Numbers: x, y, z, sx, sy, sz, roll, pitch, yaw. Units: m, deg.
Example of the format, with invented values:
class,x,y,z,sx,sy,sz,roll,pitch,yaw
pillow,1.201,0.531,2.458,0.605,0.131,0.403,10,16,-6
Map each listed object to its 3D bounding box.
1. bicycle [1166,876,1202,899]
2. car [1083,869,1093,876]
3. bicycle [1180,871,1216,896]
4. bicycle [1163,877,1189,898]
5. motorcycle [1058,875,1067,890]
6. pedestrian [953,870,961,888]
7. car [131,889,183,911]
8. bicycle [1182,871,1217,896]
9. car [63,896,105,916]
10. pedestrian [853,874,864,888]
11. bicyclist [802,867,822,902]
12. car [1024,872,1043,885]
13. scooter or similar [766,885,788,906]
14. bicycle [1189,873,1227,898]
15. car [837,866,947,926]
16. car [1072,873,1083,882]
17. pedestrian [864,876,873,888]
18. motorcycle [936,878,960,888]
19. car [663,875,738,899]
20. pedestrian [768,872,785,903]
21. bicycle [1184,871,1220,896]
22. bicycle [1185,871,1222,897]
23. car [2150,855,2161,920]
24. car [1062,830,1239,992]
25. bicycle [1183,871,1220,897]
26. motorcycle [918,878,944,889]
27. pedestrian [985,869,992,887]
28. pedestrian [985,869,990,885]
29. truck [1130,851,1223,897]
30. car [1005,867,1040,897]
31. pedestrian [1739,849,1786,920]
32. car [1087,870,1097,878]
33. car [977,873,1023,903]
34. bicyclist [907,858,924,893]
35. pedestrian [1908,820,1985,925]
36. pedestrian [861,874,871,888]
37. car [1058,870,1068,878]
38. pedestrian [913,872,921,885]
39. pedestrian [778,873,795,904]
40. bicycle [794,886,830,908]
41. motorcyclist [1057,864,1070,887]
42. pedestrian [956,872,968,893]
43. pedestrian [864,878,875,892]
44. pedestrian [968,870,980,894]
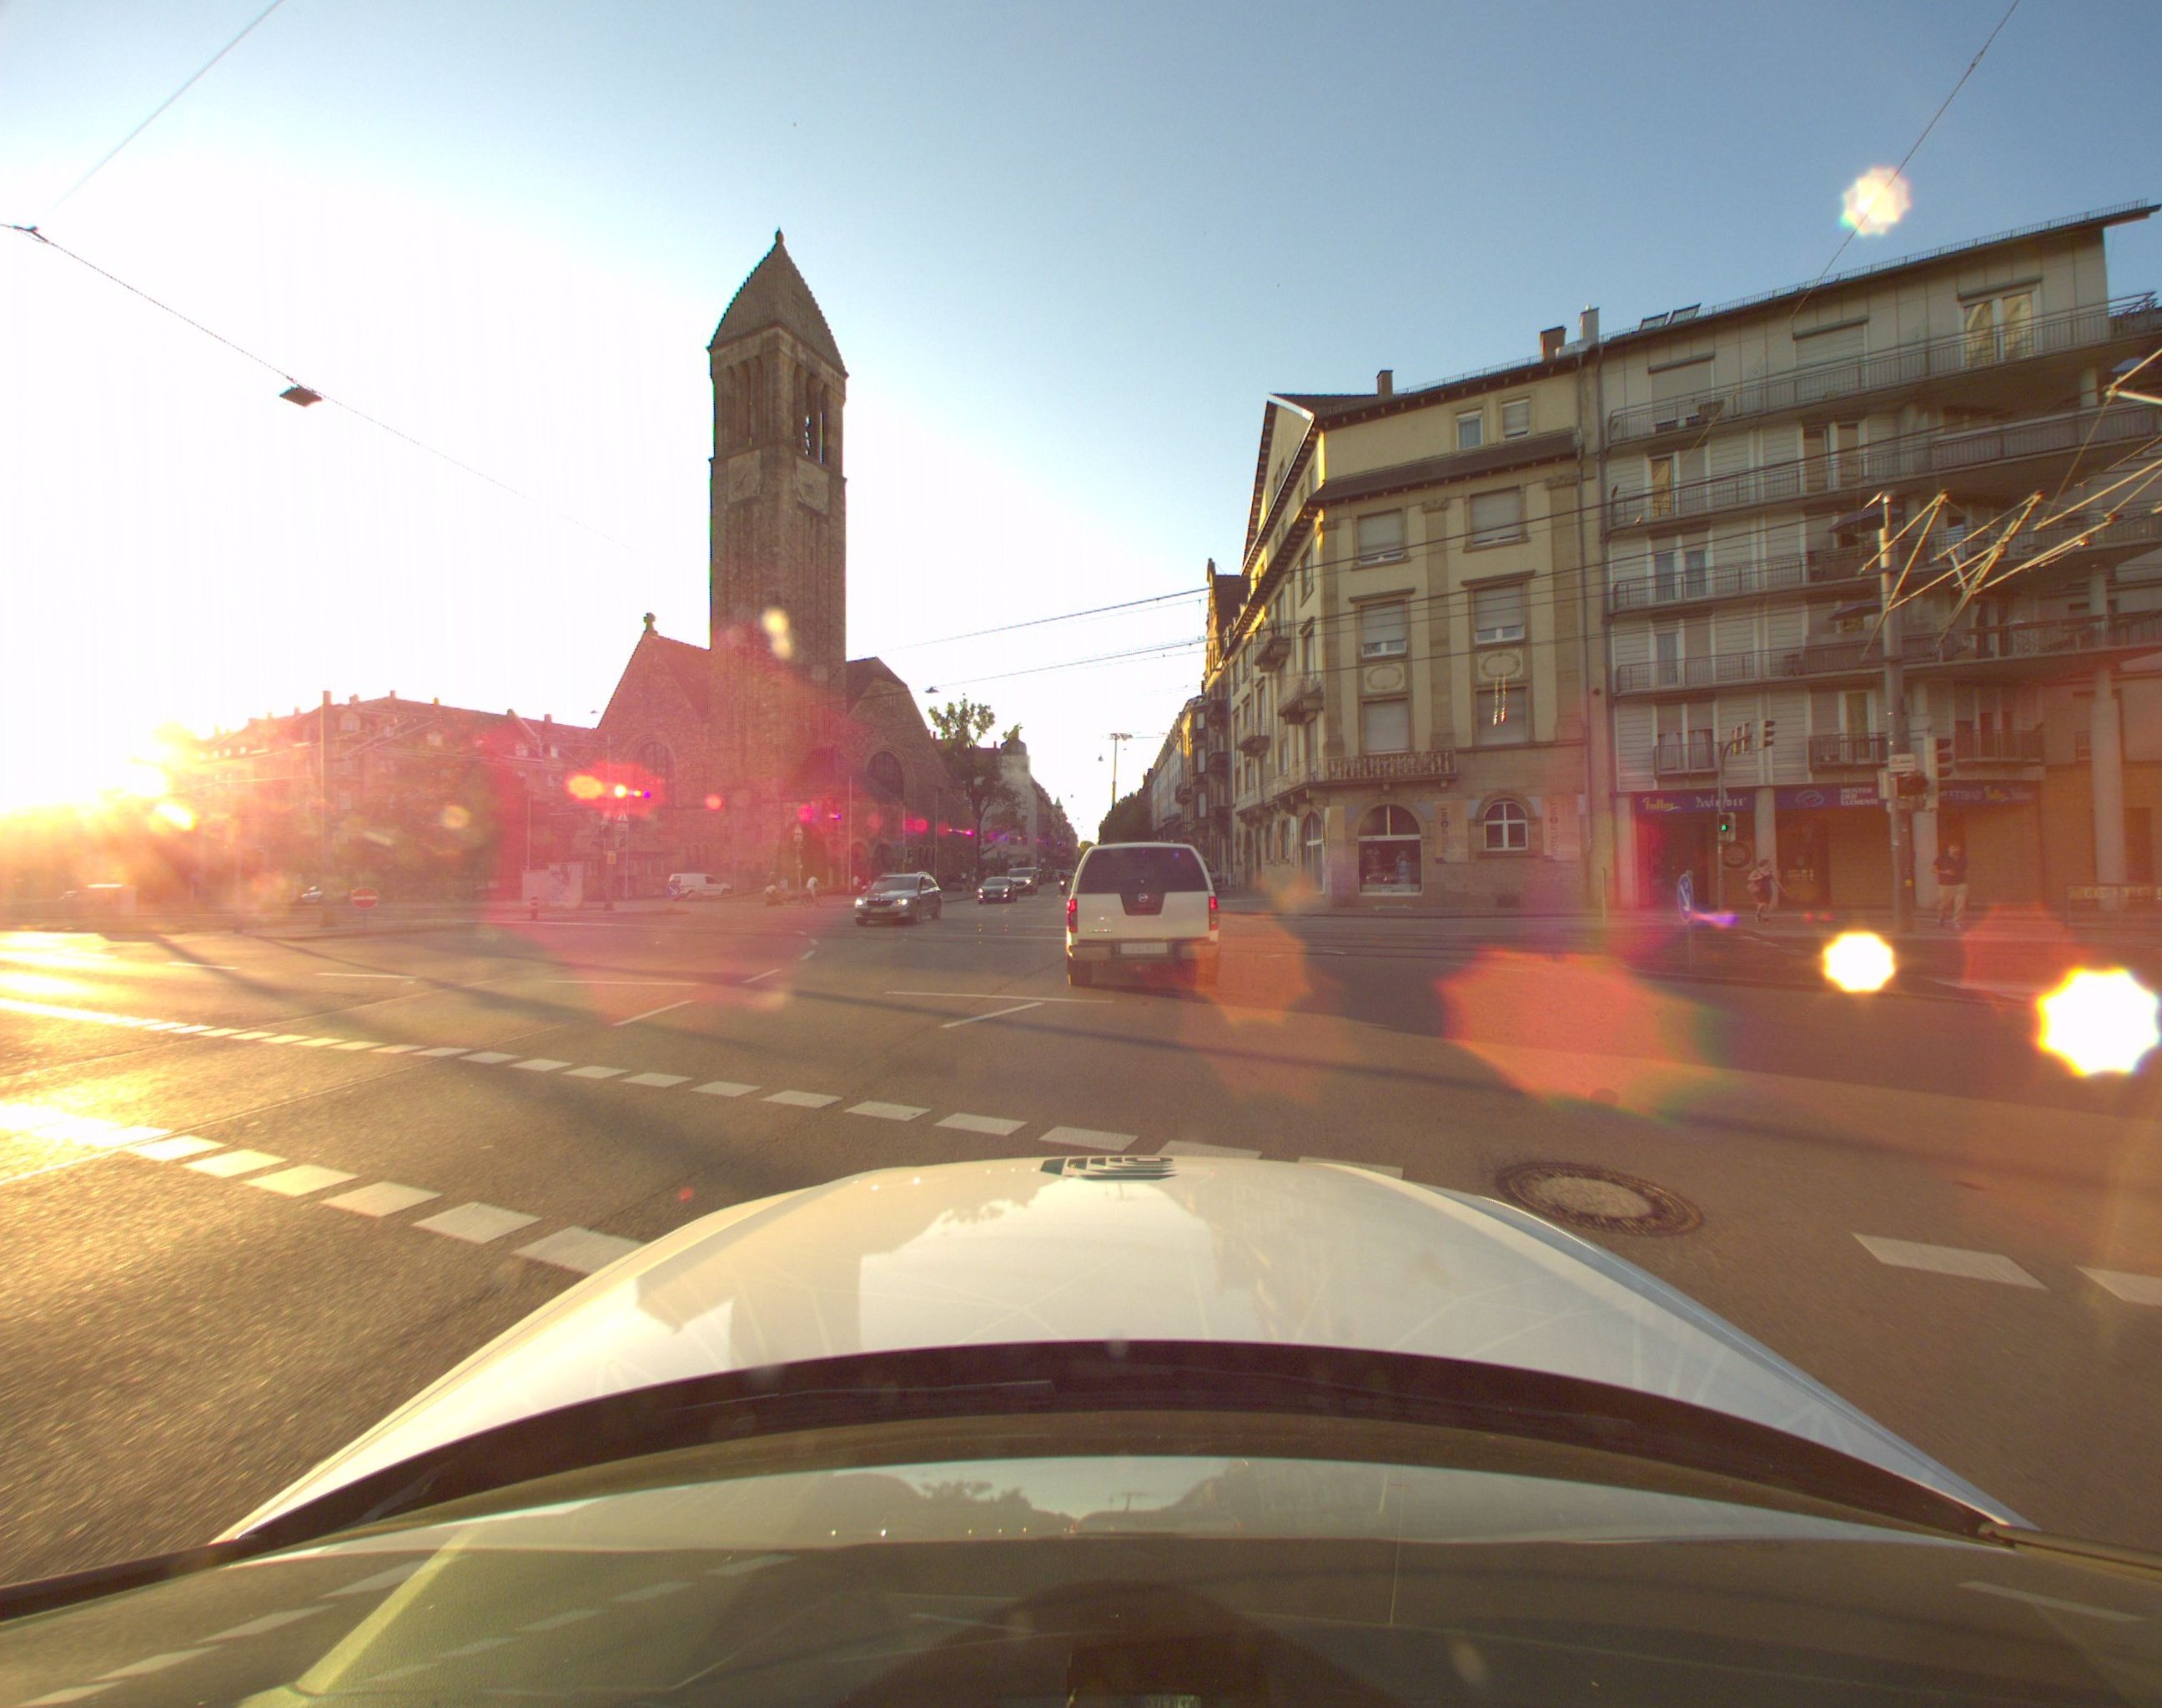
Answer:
class,x,y,z,sx,sy,sz,roll,pitch,yaw
bicycle,5.333,1.745,42.249,1.721,1.083,0.317,-4,-2,0
car,1.403,3.779,166.742,1.915,1.529,3.999,0,-2,0
bicycle,6.490,1.627,45.260,1.849,1.238,0.531,-4,-2,0
bicycle,5.159,1.835,44.399,1.329,1.024,0.317,-4,-2,0
motorcycle,-1.363,2.102,59.847,0.597,1.044,1.946,0,-2,1
pedestrian,-11.850,2.403,77.828,0.642,1.696,0.560,0,-2,-6
car,-88.540,4.423,78.017,3.952,2.014,2.010,-1,-2,22
bicycle,6.507,1.610,44.727,1.811,1.238,0.410,-4,-2,0
car,-103.024,5.347,84.132,3.949,2.014,2.012,-1,-2,29
pedestrian,-15.145,1.833,55.386,0.517,0.960,0.482,-1,-2,22
bicyclist,-14.188,1.596,42.956,0.652,1.827,0.862,-1,-1,13
car,-5.698,2.913,98.436,1.851,1.529,4.001,0,-2,2
scooter or similar,-16.545,2.262,44.321,0.629,1.103,1.082,-1,-2,14
bicycle,6.497,1.601,41.740,1.811,1.150,0.636,-4,-2,0
car,-5.536,1.175,24.551,1.986,1.558,4.771,-2,-1,2
car,-0.572,3.955,137.136,1.853,1.529,3.998,0,-2,0
pedestrian,-17.063,2.215,65.382,0.550,0.960,0.708,0,-2,-4
motorcycle,-12.476,2.708,76.331,2.146,0.988,0.597,-1,-2,22
car,-25.827,2.219,55.399,1.698,1.517,4.481,-1,-2,27
pedestrian,-16.948,1.881,45.327,0.629,1.699,0.605,-1,-2,14
bicycle,6.550,1.593,44.120,1.811,1.238,0.412,-4,-2,0
bicycle,6.418,1.583,42.686,1.811,1.238,0.488,-4,-2,0
car,26.320,0.720,17.284,3.950,1.486,1.860,-1,-2,27
car,0.879,0.691,11.177,1.985,1.809,4.002,0,-2,3
bicycle,6.414,1.608,43.398,1.811,1.238,0.478,-4,-2,0
motorcycle,-13.607,2.649,74.086,2.239,0.988,0.707,0,-2,-3
pedestrian,-9.784,2.504,86.062,0.643,1.855,0.559,0,-2,-12
pedestrian,-9.994,2.445,86.912,0.559,1.696,0.643,0,-2,-5
truck,5.728,1.185,48.354,5.703,2.565,2.260,1,-2,-41
car,-4.171,1.992,59.022,1.986,2.014,4.951,-2,-2,1
pedestrian,17.224,0.768,20.594,0.779,1.779,0.546,-1,-2,28
car,2.113,3.765,156.388,1.851,1.529,4.001,0,-2,2
car,-4.436,1.861,45.205,1.986,1.477,4.140,-2,-1,1
bicyclist,-7.907,1.013,38.876,0.597,1.645,0.963,0,-2,1
pedestrian,18.756,0.411,17.677,0.811,2.209,0.875,-1,-2,24
pedestrian,-14.539,1.823,55.085,0.517,0.960,0.482,-1,-2,22
car,-3.661,4.007,164.563,1.851,1.529,4.001,0,-2,2
pedestrian,-12.218,1.827,60.645,0.522,0.960,0.477,0,-2,-13
pedestrian,-16.341,1.915,45.154,0.629,1.699,0.605,-1,-2,13
bicycle,-14.160,2.247,42.970,0.652,1.078,2.253,-1,-2,15
motorcyclist,-1.298,1.570,59.889,0.871,1.645,0.963,0,-2,1
pedestrian,-9.342,2.246,63.853,0.809,1.670,0.859,0,-2,0
pedestrian,-14.606,2.131,56.252,0.473,0.960,0.526,-1,-2,32
pedestrian,-8.364,2.190,63.842,0.809,1.901,0.666,0,-2,0
